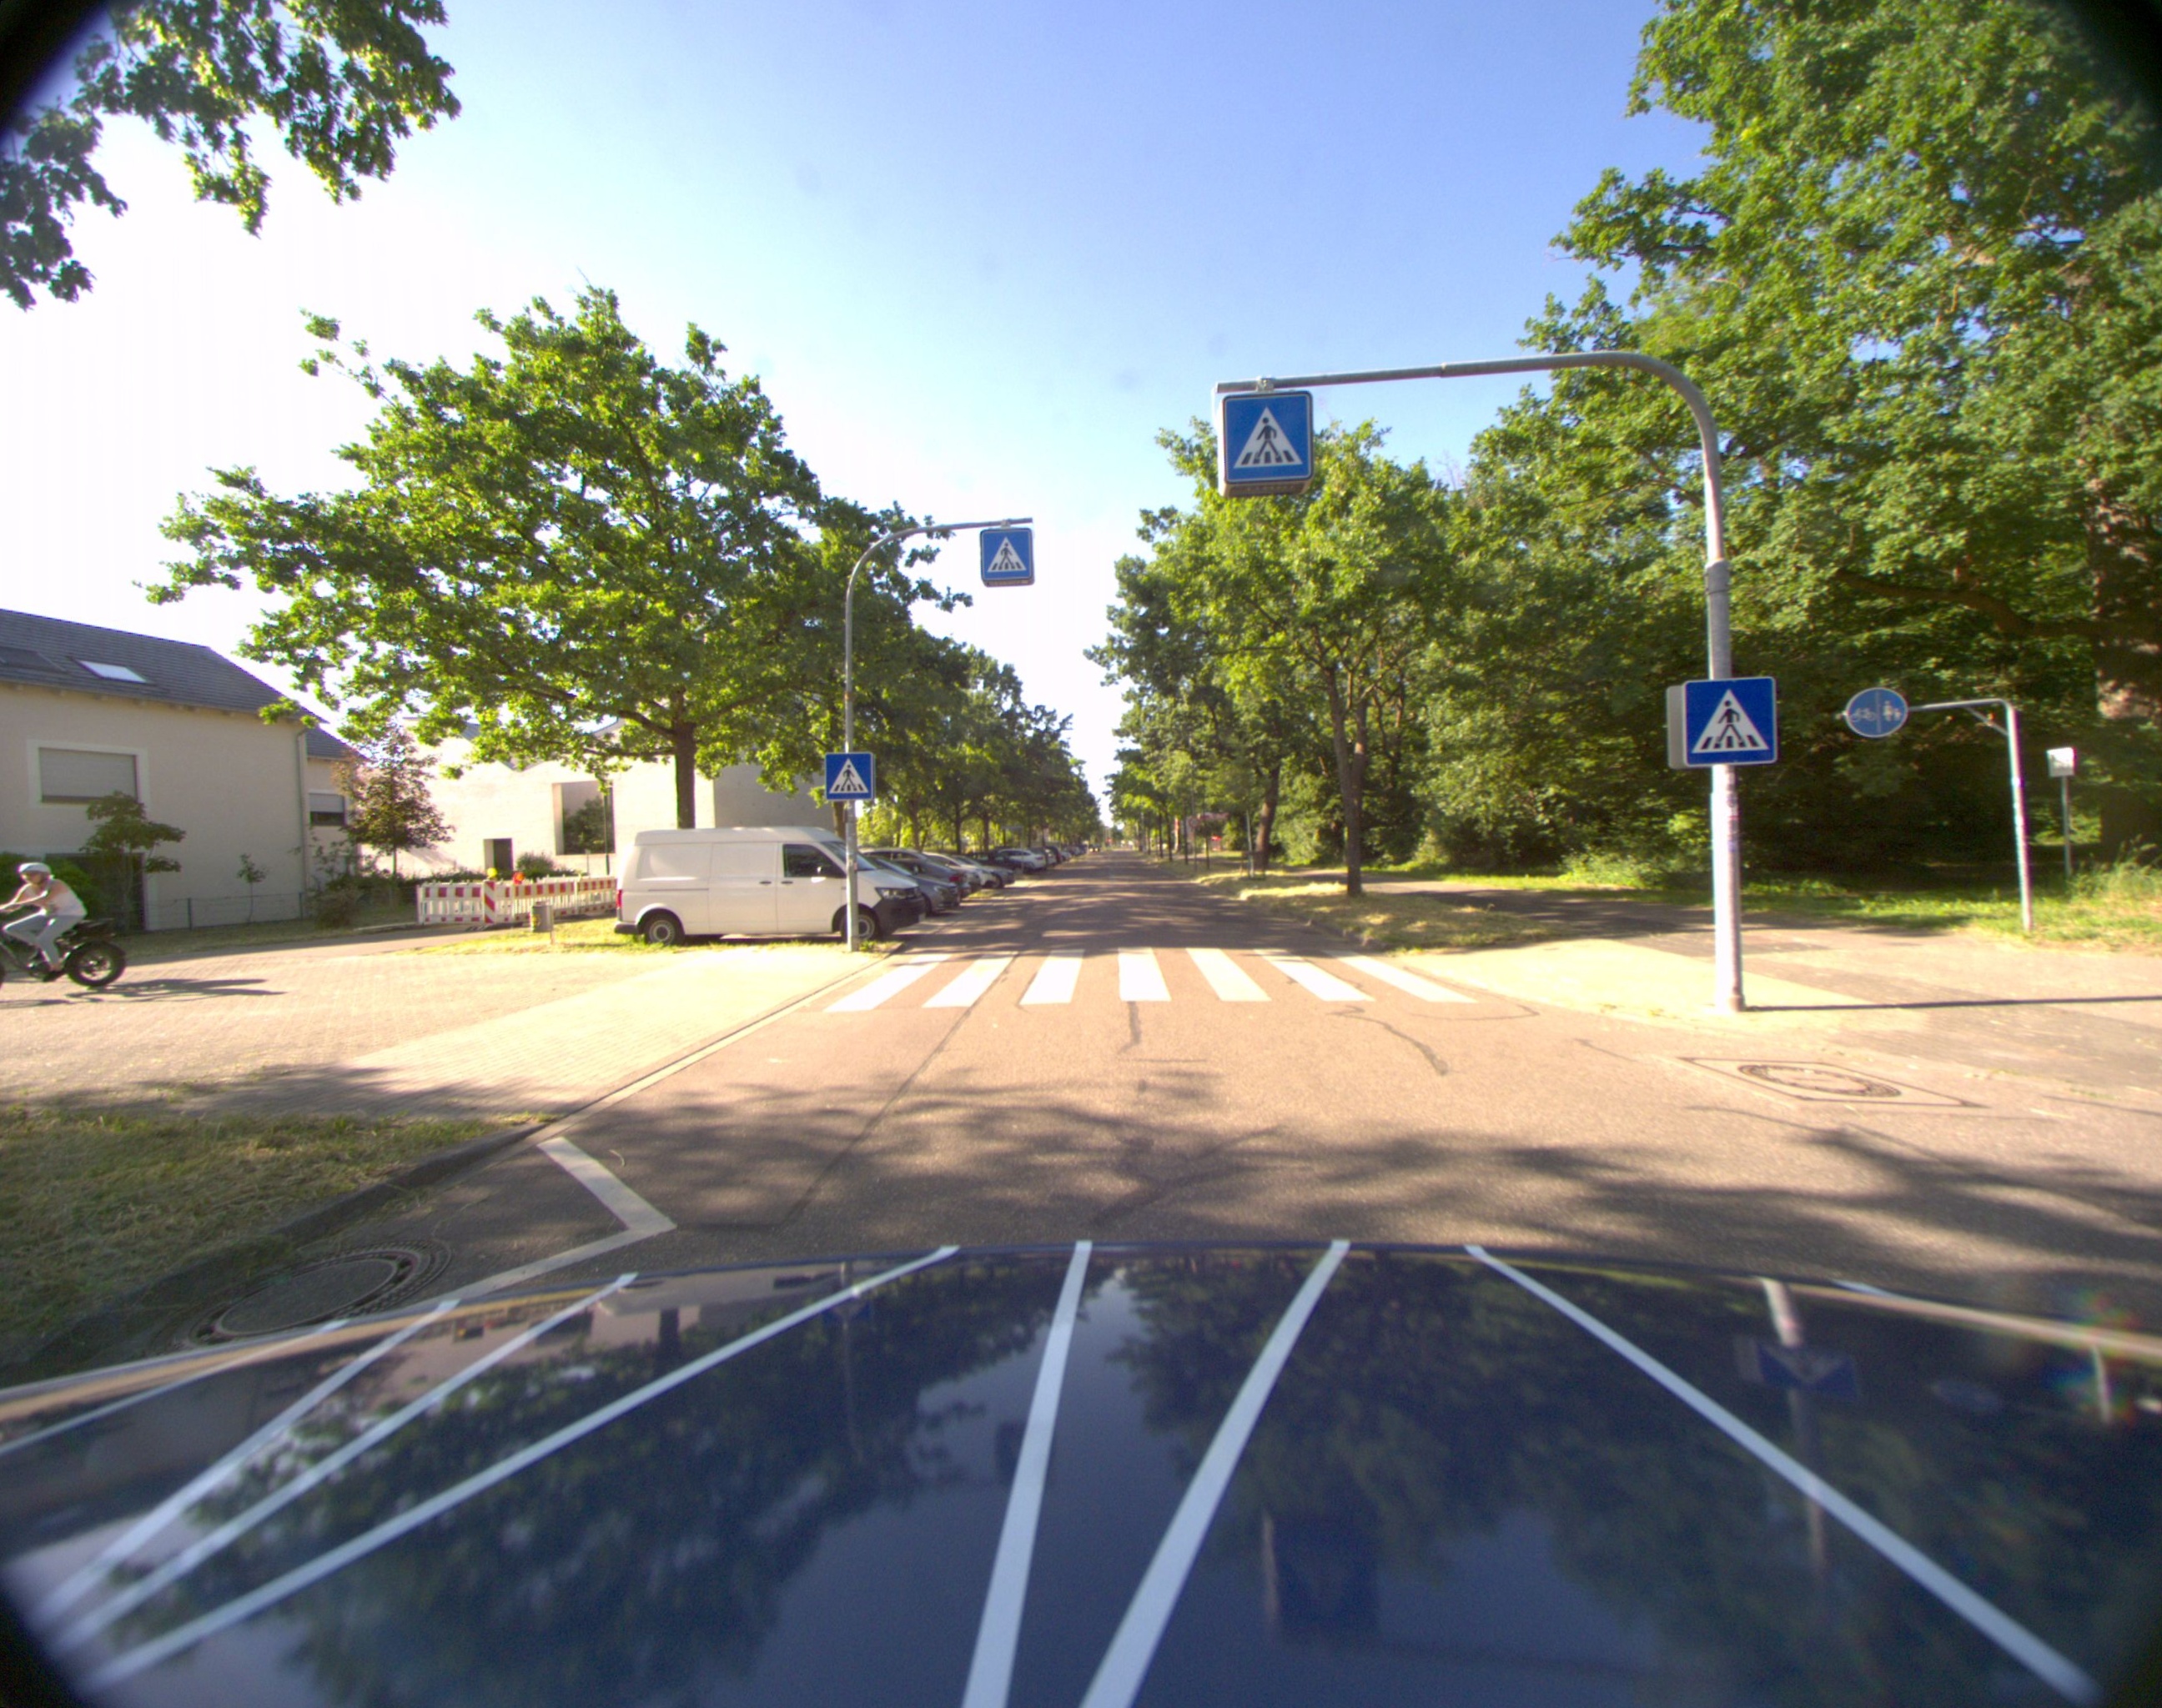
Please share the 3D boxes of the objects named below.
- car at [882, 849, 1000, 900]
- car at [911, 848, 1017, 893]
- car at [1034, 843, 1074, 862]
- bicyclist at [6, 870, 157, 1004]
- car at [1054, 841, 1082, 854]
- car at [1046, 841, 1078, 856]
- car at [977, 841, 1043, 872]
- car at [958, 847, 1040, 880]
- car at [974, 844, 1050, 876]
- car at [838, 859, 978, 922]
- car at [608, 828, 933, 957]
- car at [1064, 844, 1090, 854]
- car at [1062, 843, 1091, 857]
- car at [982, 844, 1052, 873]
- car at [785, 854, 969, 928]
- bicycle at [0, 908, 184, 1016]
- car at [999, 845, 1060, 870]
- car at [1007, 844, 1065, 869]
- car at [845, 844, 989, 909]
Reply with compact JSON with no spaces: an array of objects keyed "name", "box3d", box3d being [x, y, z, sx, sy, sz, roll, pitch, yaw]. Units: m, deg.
[{"name":"car","box3d":[-5.224,0.756,28.556,4.018,1.669,1.533,-3,1,4]},{"name":"car","box3d":[-4.807,0.663,31.540,4.018,1.650,1.533,-3,1,4]},{"name":"car","box3d":[-2.850,-0.206,80.563,3.996,1.838,1.863,-3,1,3]},{"name":"bicyclist","box3d":[-13.324,1.076,10.159,0.726,1.656,0.849,-3,2,1]},{"name":"car","box3d":[-1.954,-0.985,117.840,4.151,1.838,1.949,-3,1,3]},{"name":"car","box3d":[-2.525,-0.766,101.512,4.151,1.838,1.949,-3,1,3]},{"name":"car","box3d":[-5.001,0.147,54.114,4.394,1.977,1.533,-3,1,4]},{"name":"car","box3d":[-4.684,0.537,43.651,4.394,1.632,1.533,-3,1,4]},{"name":"car","box3d":[-4.217,0.338,46.665,4.394,1.733,1.533,-3,1,4]},{"name":"car","box3d":[-4.814,1.002,21.396,3.515,1.533,1.448,-3,1,4]},{"name":"car","box3d":[-5.427,0.644,13.757,5.045,2.069,1.890,-1,1,2]},{"name":"car","box3d":[-0.623,-0.784,122.831,4.151,1.401,1.800,-3,1,3]},{"name":"car","box3d":[-0.683,-0.640,112.745,4.151,1.838,1.949,-3,1,3]},{"name":"car","box3d":[-4.273,0.277,50.741,4.394,1.733,1.533,-3,1,4]},{"name":"car","box3d":[-4.986,0.891,18.922,3.996,1.554,1.758,-3,1,4]},{"name":"bicycle","box3d":[-13.366,1.382,10.076,0.677,1.144,1.830,-3,1,1]},{"name":"car","box3d":[-3.866,0.250,57.928,4.394,1.733,1.533,-3,1,4]},{"name":"car","box3d":[-3.565,0.196,60.291,4.394,1.733,1.533,-3,1,4]},{"name":"car","box3d":[-5.096,0.674,23.952,4.018,1.783,1.713,-3,1,4]}]
